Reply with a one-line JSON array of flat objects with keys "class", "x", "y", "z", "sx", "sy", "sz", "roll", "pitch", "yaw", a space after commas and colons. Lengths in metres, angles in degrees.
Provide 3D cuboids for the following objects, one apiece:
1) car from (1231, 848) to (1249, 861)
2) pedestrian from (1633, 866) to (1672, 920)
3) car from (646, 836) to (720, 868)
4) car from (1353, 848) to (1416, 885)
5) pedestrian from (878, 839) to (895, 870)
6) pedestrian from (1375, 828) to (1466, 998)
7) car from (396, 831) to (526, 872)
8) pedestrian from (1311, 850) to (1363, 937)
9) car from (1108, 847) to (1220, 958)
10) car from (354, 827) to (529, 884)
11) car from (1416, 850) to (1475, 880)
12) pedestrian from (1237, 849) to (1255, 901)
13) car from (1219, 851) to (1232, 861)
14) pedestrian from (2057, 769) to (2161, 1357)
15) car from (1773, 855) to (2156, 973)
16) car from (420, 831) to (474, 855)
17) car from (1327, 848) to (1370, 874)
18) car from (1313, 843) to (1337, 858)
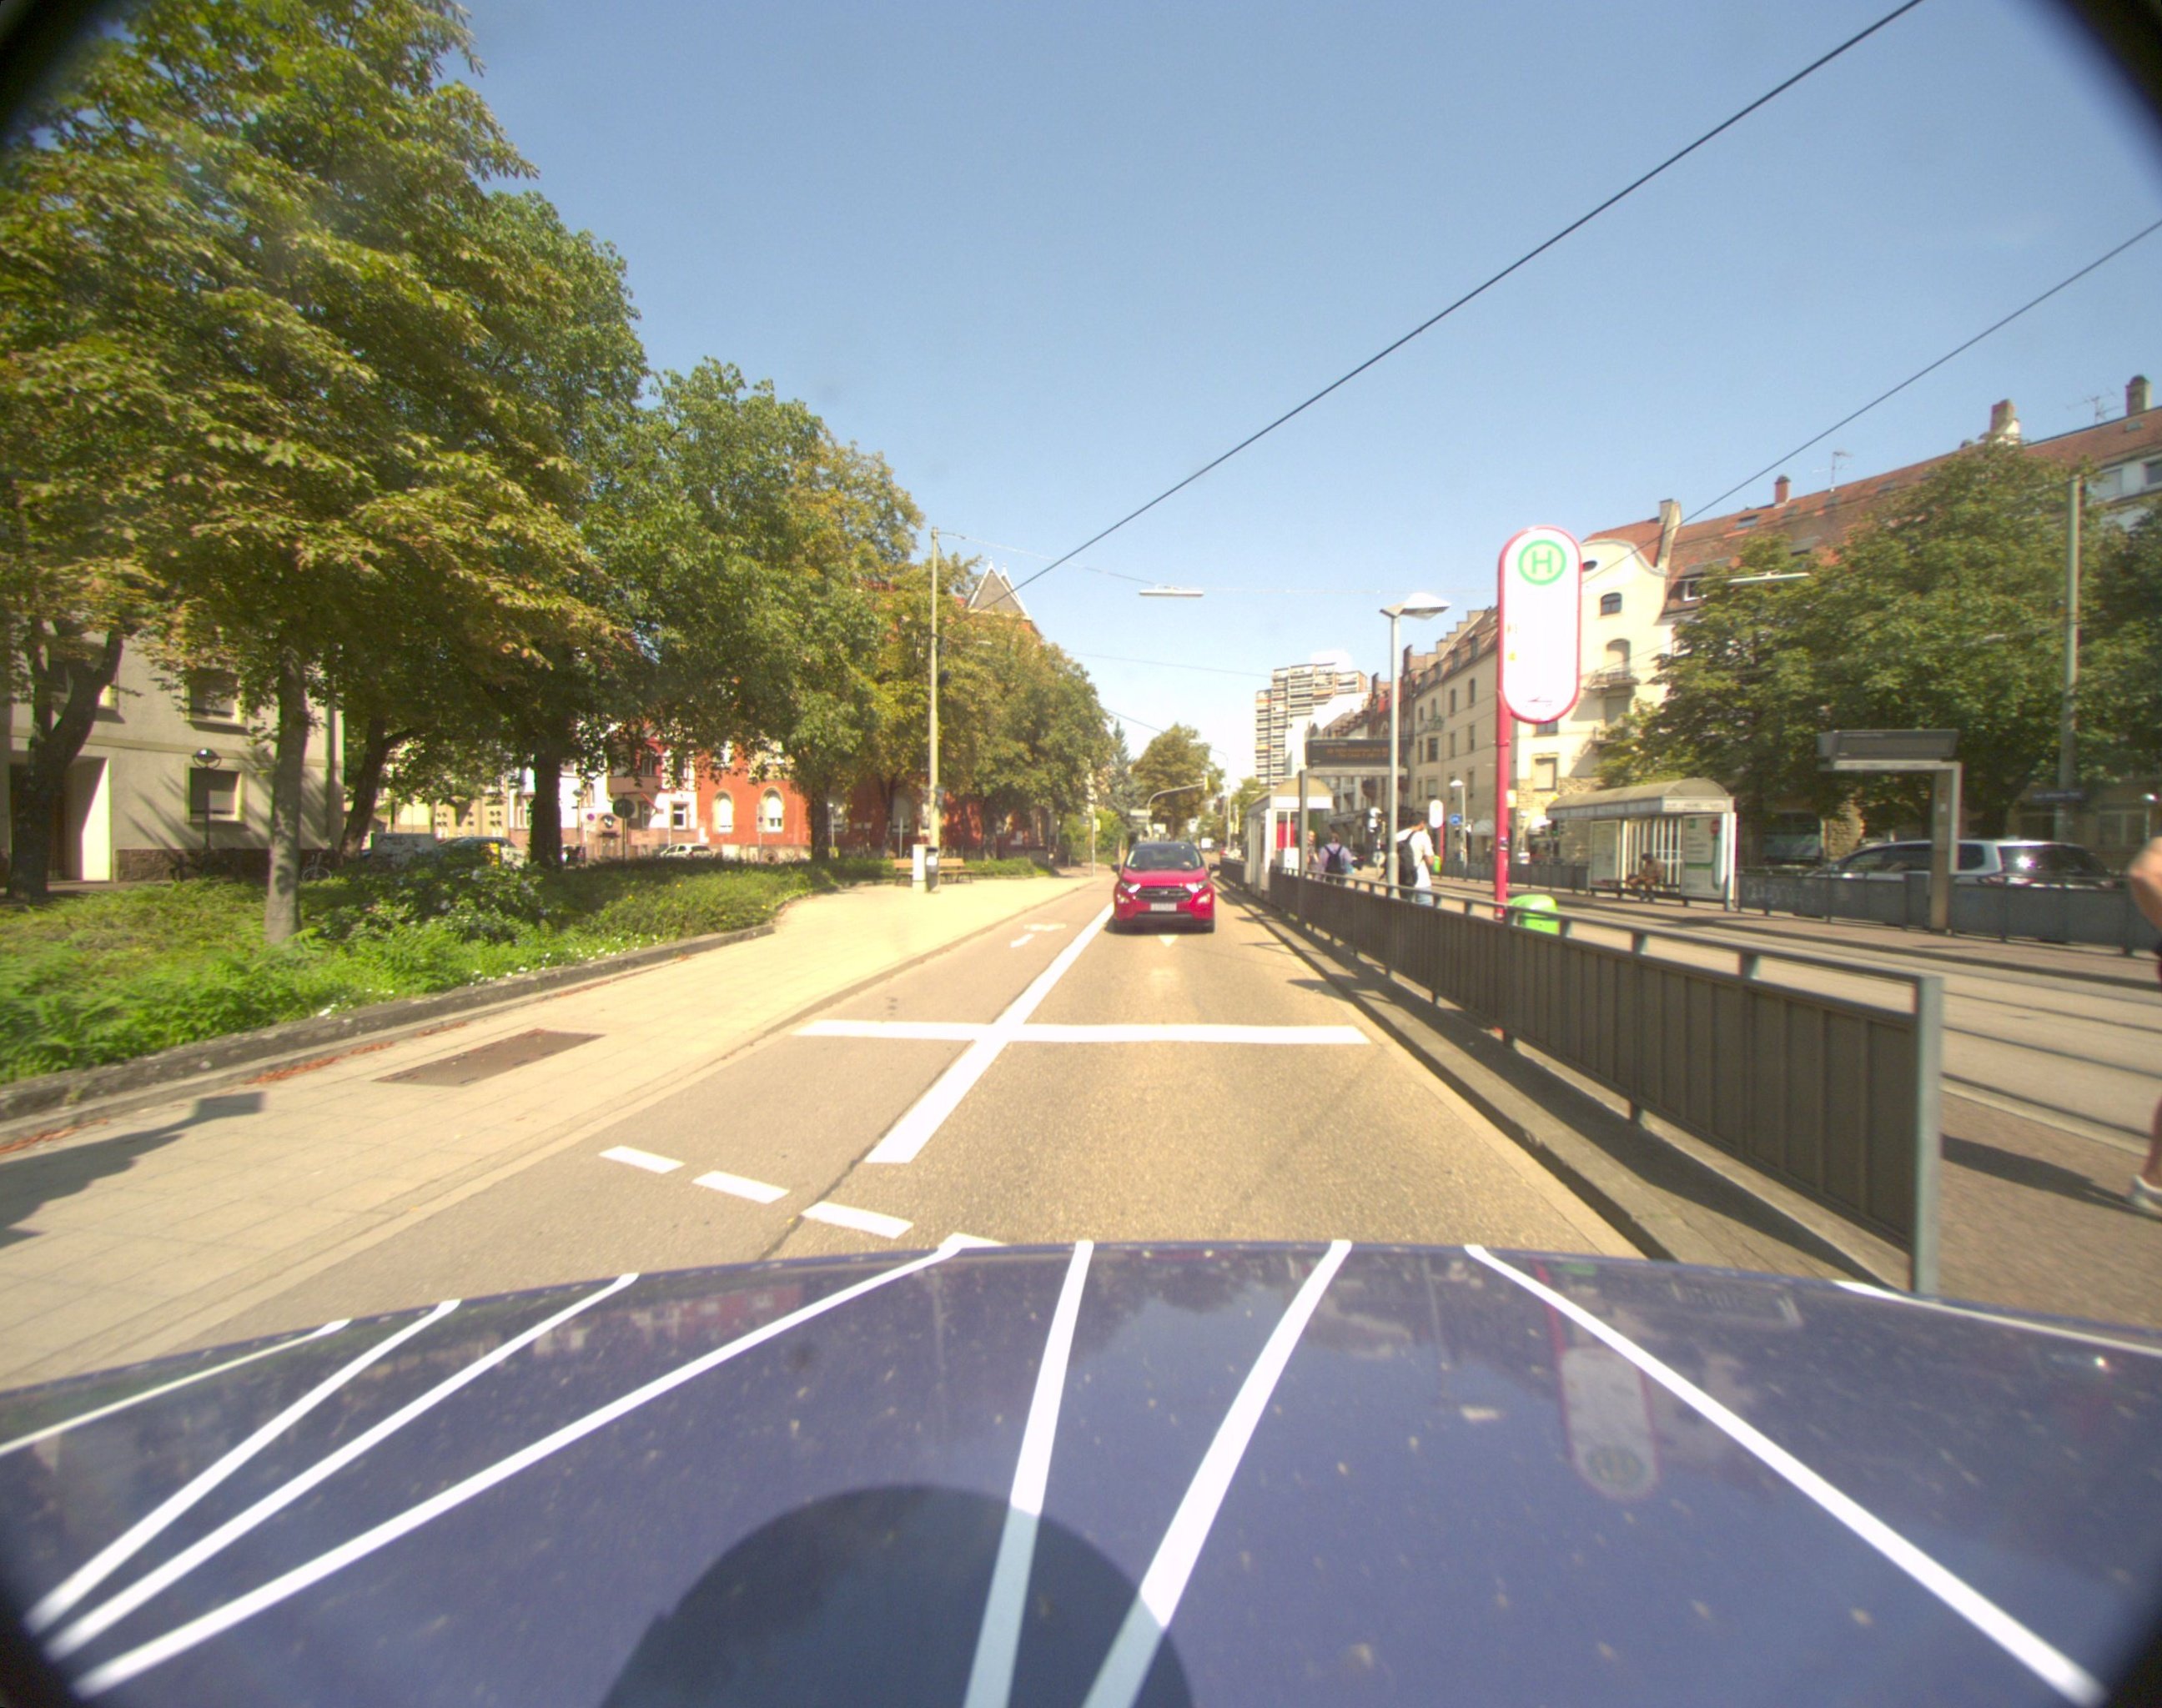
[{"class": "car", "x": 22.292, "y": -0.009, "z": 106.780, "sx": 1.997, "sy": 1.716, "sz": 4.633, "roll": 2, "pitch": 1, "yaw": 7}, {"class": "pedestrian", "x": 13.742, "y": 0.921, "z": 18.284, "sx": 0.479, "sy": 1.243, "sz": 0.648, "roll": 1, "pitch": 1, "yaw": 8}, {"class": "car", "x": -23.541, "y": -0.135, "z": 44.945, "sx": 4.403, "sy": 1.801, "sz": 1.808, "roll": 1, "pitch": 1, "yaw": 30}, {"class": "car", "x": 15.631, "y": 0.603, "z": 39.416, "sx": 1.997, "sy": 1.716, "sz": 4.633, "roll": 2, "pitch": 1, "yaw": 9}, {"class": "pedestrian", "x": -11.826, "y": 0.044, "z": 46.169, "sx": 0.677, "sy": 1.874, "sz": 0.920, "roll": 0, "pitch": 1, "yaw": -34}, {"class": "pedestrian", "x": 3.927, "y": 0.645, "z": 8.853, "sx": 0.675, "sy": 1.874, "sz": 0.923, "roll": 1, "pitch": 1, "yaw": 6}, {"class": "car", "x": -29.431, "y": -0.126, "z": 36.210, "sx": 1.799, "sy": 1.801, "sz": 4.425, "roll": 1, "pitch": 1, "yaw": 33}, {"class": "pedestrian", "x": 4.826, "y": 0.722, "z": 14.391, "sx": 0.738, "sy": 1.575, "sz": 0.854, "roll": 1, "pitch": 1, "yaw": 6}, {"class": "car", "x": 1.578, "y": 0.770, "z": 14.692, "sx": 1.802, "sy": 1.801, "sz": 4.417, "roll": 1, "pitch": 1, "yaw": 6}, {"class": "car", "x": -22.362, "y": 0.049, "z": 26.744, "sx": 1.798, "sy": 1.801, "sz": 4.426, "roll": 3, "pitch": 1, "yaw": 38}, {"class": "car", "x": 23.226, "y": 0.644, "z": 48.658, "sx": 1.997, "sy": 1.716, "sz": 4.633, "roll": 2, "pitch": 1, "yaw": 7}, {"class": "pedestrian", "x": 5.423, "y": 0.674, "z": 25.003, "sx": 0.535, "sy": 1.684, "sz": 0.832, "roll": 1, "pitch": 1, "yaw": 10}, {"class": "car", "x": 25.588, "y": 0.287, "z": 134.858, "sx": 1.997, "sy": 1.716, "sz": 4.633, "roll": 2, "pitch": 1, "yaw": 7}, {"class": "pedestrian", "x": 3.925, "y": 0.671, "z": 2.515, "sx": 0.924, "sy": 1.874, "sz": 0.674, "roll": 0, "pitch": 1, "yaw": -29}, {"class": "car", "x": 15.919, "y": 0.937, "z": 14.214, "sx": 1.997, "sy": 1.716, "sz": 4.632, "roll": 2, "pitch": 1, "yaw": 7}, {"class": "car", "x": -49.129, "y": -0.840, "z": 58.878, "sx": 4.403, "sy": 1.801, "sz": 1.808, "roll": 1, "pitch": 1, "yaw": 30}, {"class": "car", "x": 19.349, "y": 0.440, "z": 55.130, "sx": 1.997, "sy": 1.716, "sz": 4.633, "roll": 2, "pitch": 1, "yaw": 7}, {"class": "car", "x": 30.341, "y": -0.465, "z": 94.582, "sx": 1.997, "sy": 1.716, "sz": 4.633, "roll": 2, "pitch": 1, "yaw": 7}]
